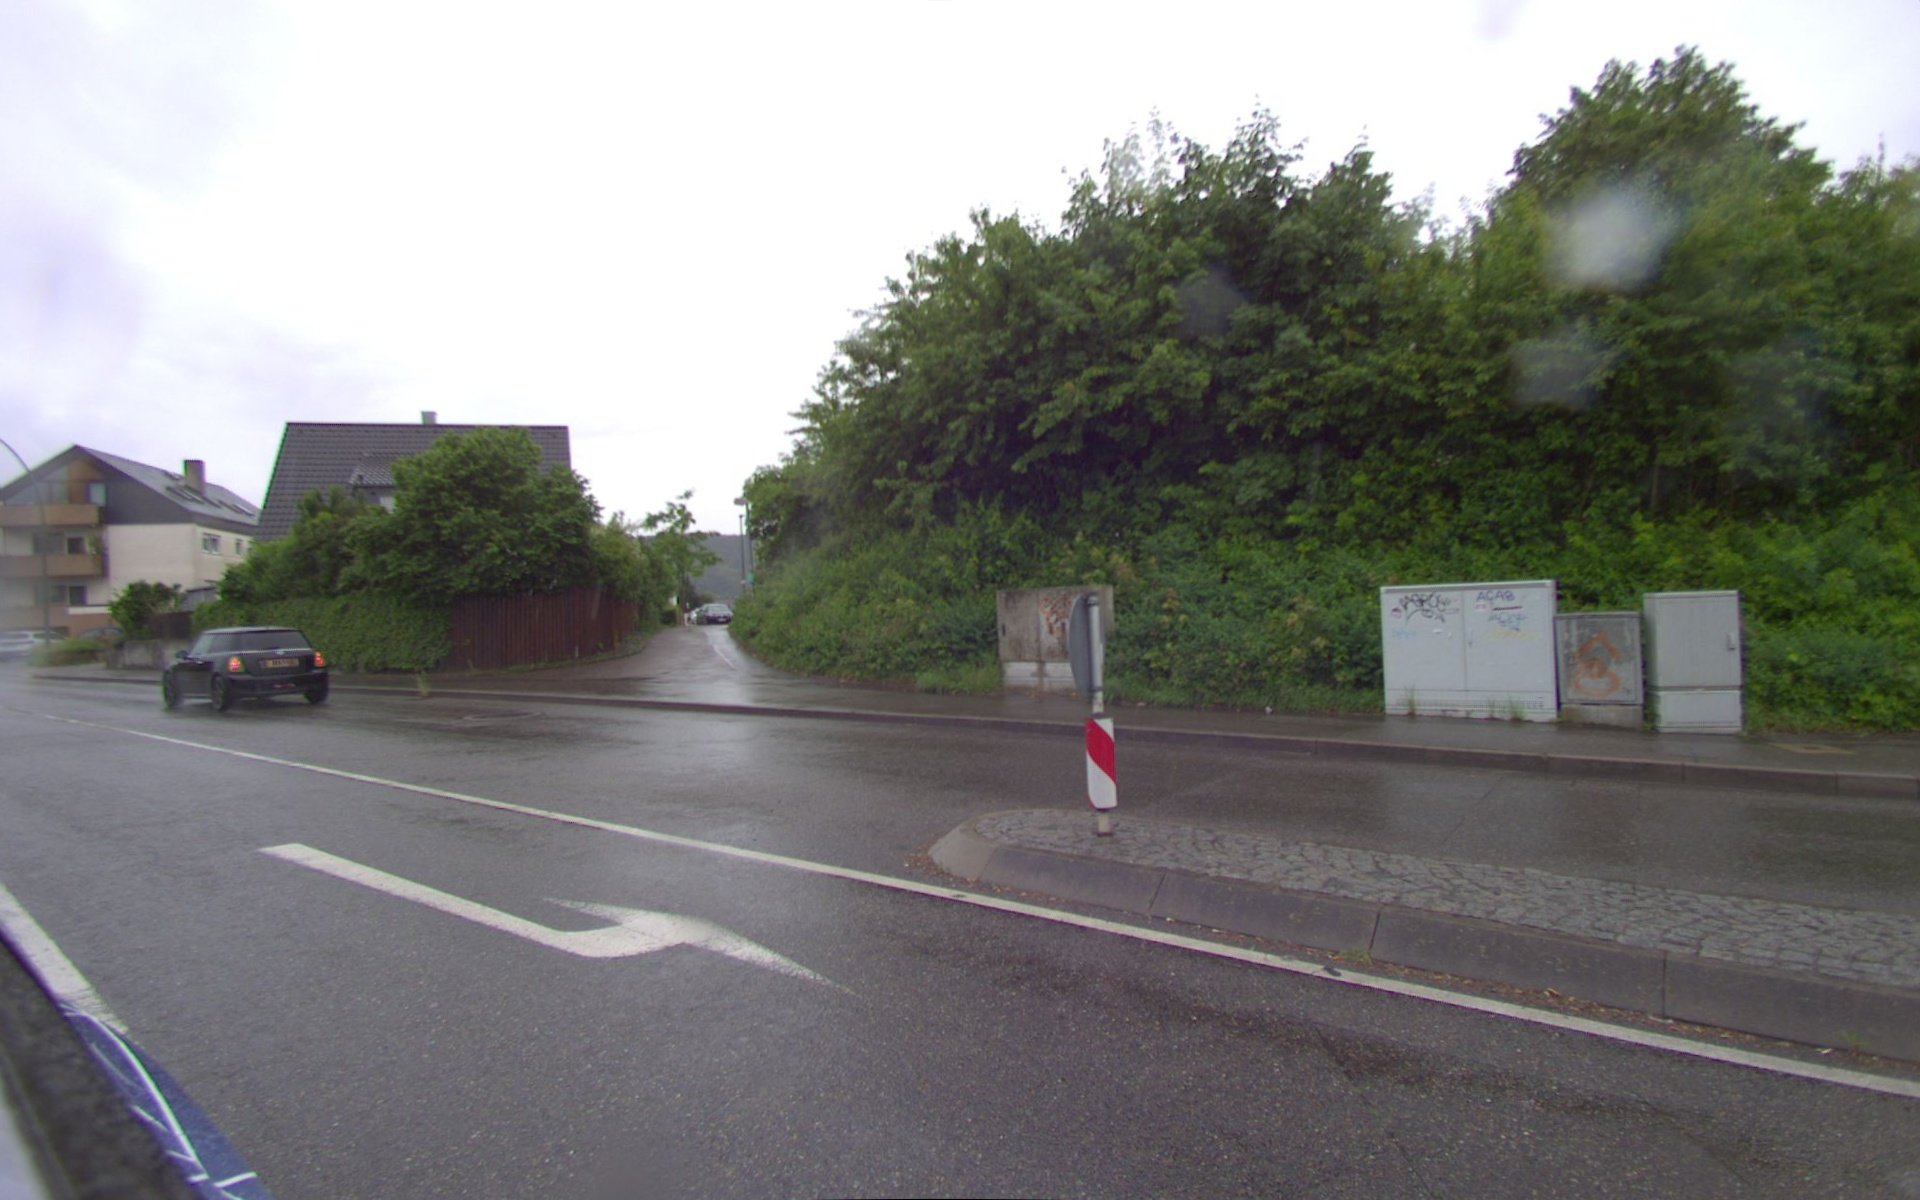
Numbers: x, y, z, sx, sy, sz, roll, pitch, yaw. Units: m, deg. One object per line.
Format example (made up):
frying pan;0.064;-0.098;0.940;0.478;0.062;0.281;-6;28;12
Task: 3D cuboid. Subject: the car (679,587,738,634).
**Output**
car;-9.147;0.363;37.037;1.683;1.600;3.668;-1;0;-8

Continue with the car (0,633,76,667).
car;-46.785;2.500;51.025;1.837;1.530;4.012;-2;0;-18

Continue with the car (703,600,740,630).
car;-15.564;0.946;66.158;1.968;1.873;4.008;-2;0;-9

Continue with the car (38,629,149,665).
car;-41.421;2.221;48.440;3.609;1.530;1.759;-2;0;-15

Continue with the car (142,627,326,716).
car;-13.145;1.231;18.284;3.453;1.397;1.661;-2;0;35
